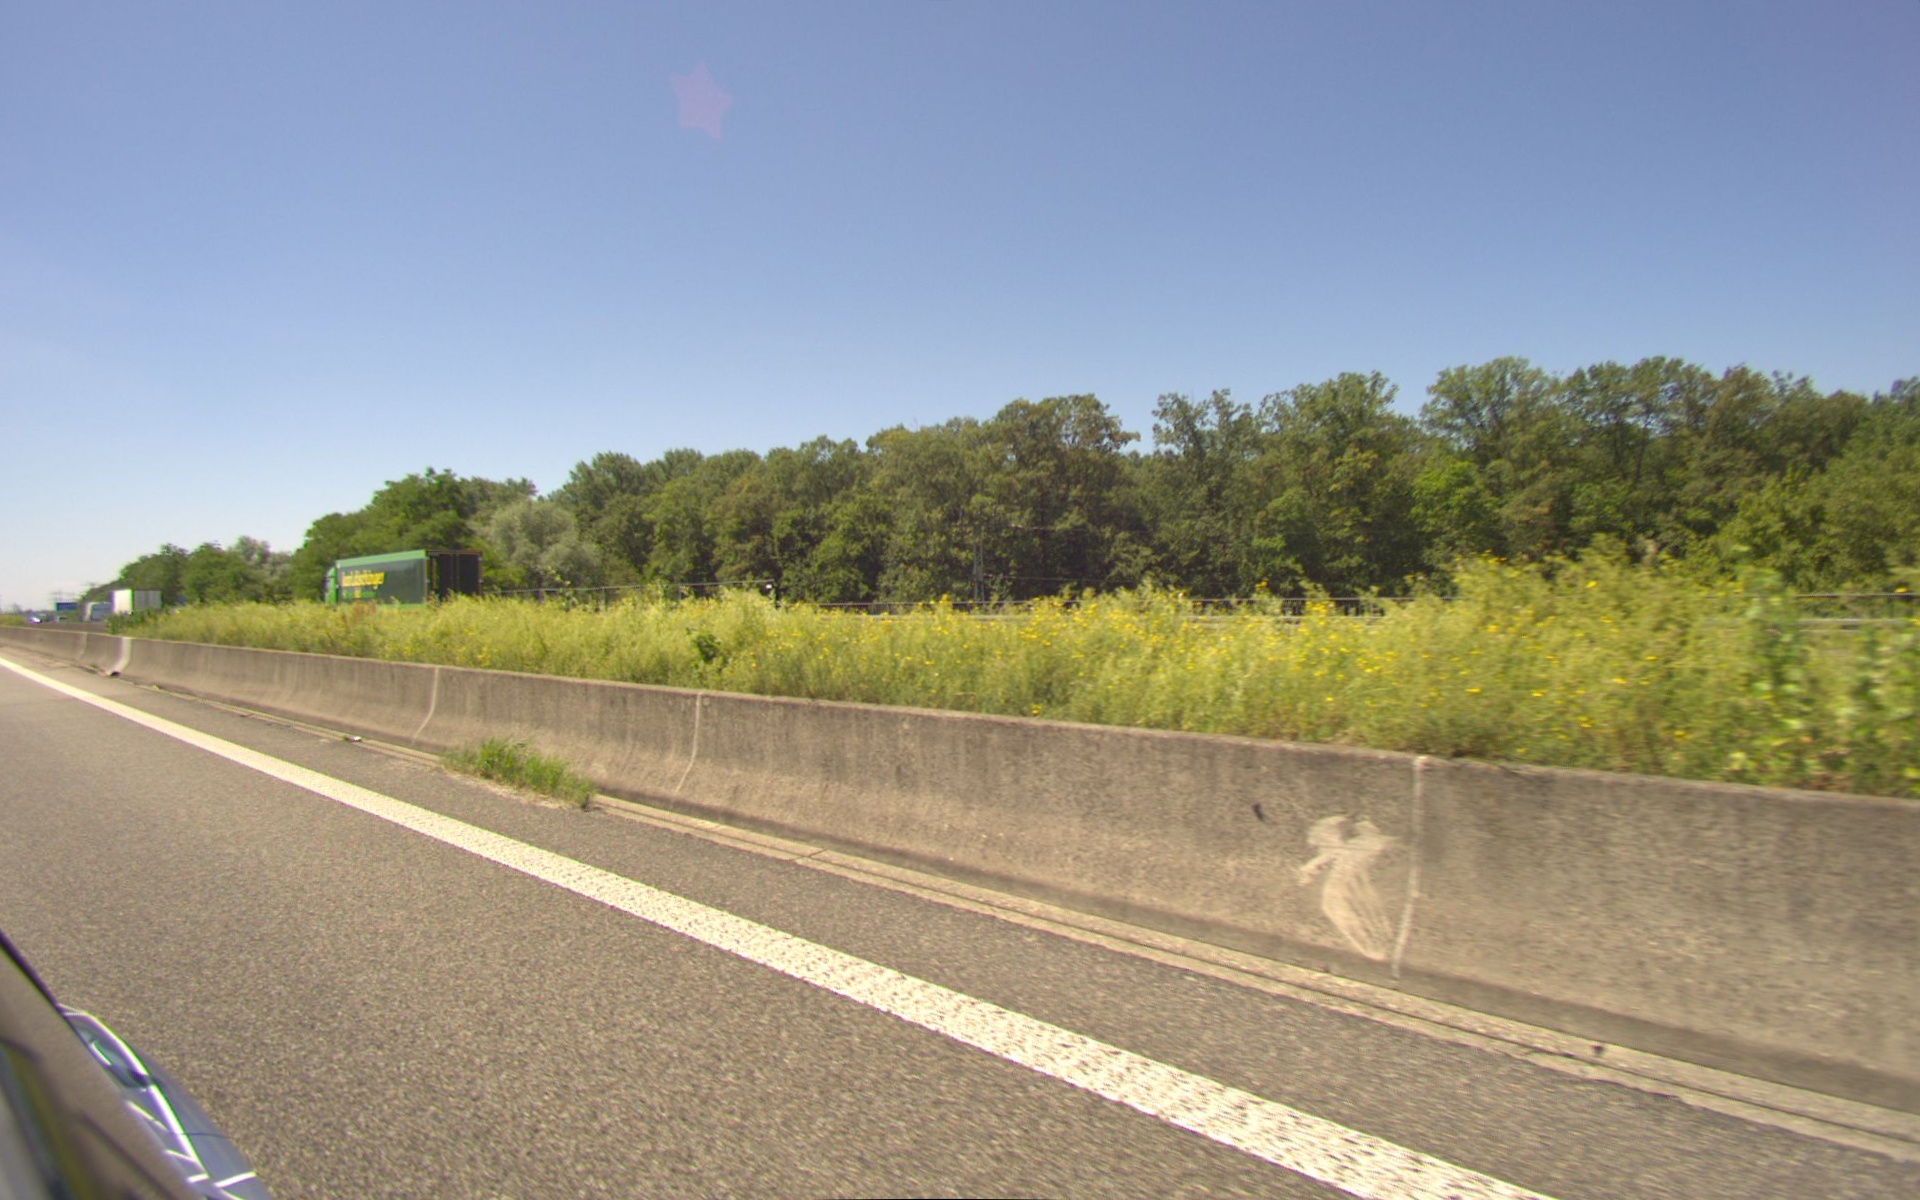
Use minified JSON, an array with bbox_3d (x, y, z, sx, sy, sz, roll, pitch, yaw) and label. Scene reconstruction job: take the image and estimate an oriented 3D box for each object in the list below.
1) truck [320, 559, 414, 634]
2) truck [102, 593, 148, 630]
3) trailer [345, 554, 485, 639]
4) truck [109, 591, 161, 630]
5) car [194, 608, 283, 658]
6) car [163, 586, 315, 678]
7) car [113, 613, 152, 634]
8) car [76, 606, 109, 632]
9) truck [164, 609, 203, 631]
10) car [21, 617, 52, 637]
[{"bbox_3d":[-33.233,-0.127,56.596,6.500,3.970,2.889,-2,-1,44],"label":"truck"},{"bbox_3d":[-95.395,1.354,115.543,8.288,4.007,3.015,-2,-1,43],"label":"truck"},{"bbox_3d":[-27.958,-0.097,51.507,11.871,3.892,2.891,-1,0,44],"label":"trailer"},{"bbox_3d":[-90.310,1.165,110.648,11.151,4.007,3.015,-2,-1,44],"label":"truck"},{"bbox_3d":[-28.071,1.235,39.356,4.073,1.854,1.972,-1,-1,42],"label":"car"},{"bbox_3d":[-17.770,0.724,24.844,4.713,2.029,2.266,-1,0,45],"label":"car"},{"bbox_3d":[-70.669,1.993,86.432,4.539,1.725,1.978,-1,0,43],"label":"car"},{"bbox_3d":[-90.375,1.970,105.390,6.129,2.588,1.972,-1,-1,43],"label":"car"},{"bbox_3d":[-69.987,1.806,91.169,4.742,1.814,1.972,-1,0,42],"label":"truck"},{"bbox_3d":[-93.650,2.739,102.627,3.999,1.863,1.972,-1,0,42],"label":"car"}]
